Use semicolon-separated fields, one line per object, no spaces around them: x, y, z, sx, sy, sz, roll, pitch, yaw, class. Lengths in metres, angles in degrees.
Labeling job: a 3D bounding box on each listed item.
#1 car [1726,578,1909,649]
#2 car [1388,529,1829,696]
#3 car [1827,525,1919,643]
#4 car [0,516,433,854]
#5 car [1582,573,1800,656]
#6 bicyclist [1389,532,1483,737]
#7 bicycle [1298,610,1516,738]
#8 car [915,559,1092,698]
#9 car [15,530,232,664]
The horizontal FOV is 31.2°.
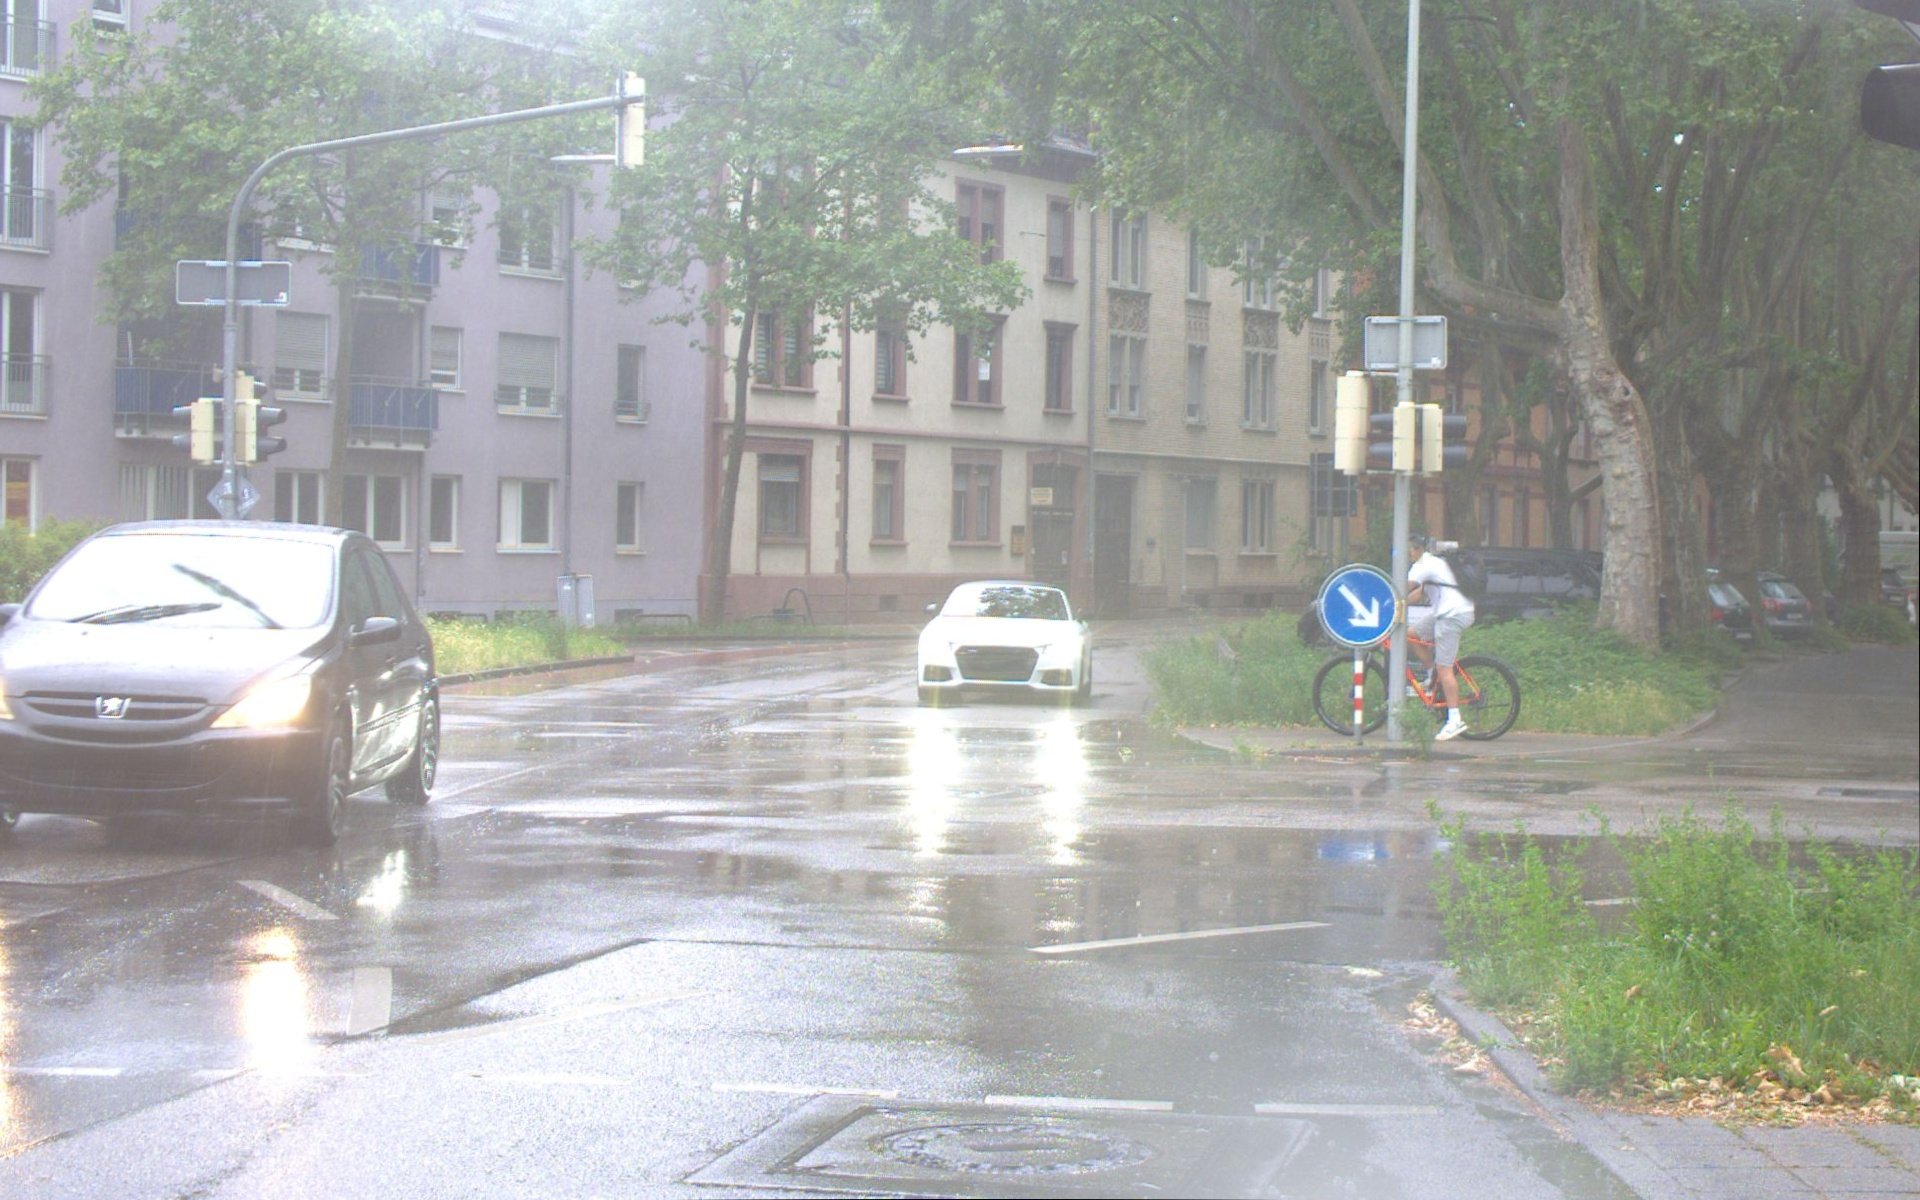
19.577;0.304;78.660;3.989;1.542;1.999;1;1;12;car
6.172;0.100;32.710;3.989;1.481;1.999;1;1;12;car
24.397;-0.419;87.722;2.033;2.938;4.773;1;1;-21;car
-3.697;0.351;16.856;1.714;1.454;3.748;1;1;-1;car
13.908;0.257;65.455;3.989;1.481;1.999;1;1;12;car
4.201;0.296;30.369;0.795;1.780;0.697;1;0;8;bicyclist
3.947;0.643;30.404;1.873;1.077;0.657;1;0;8;bicycle
0.522;0.282;39.138;1.884;1.431;4.000;1;1;1;car
-10.042;-0.066;41.503;1.751;1.506;3.839;1;1;-2;car
